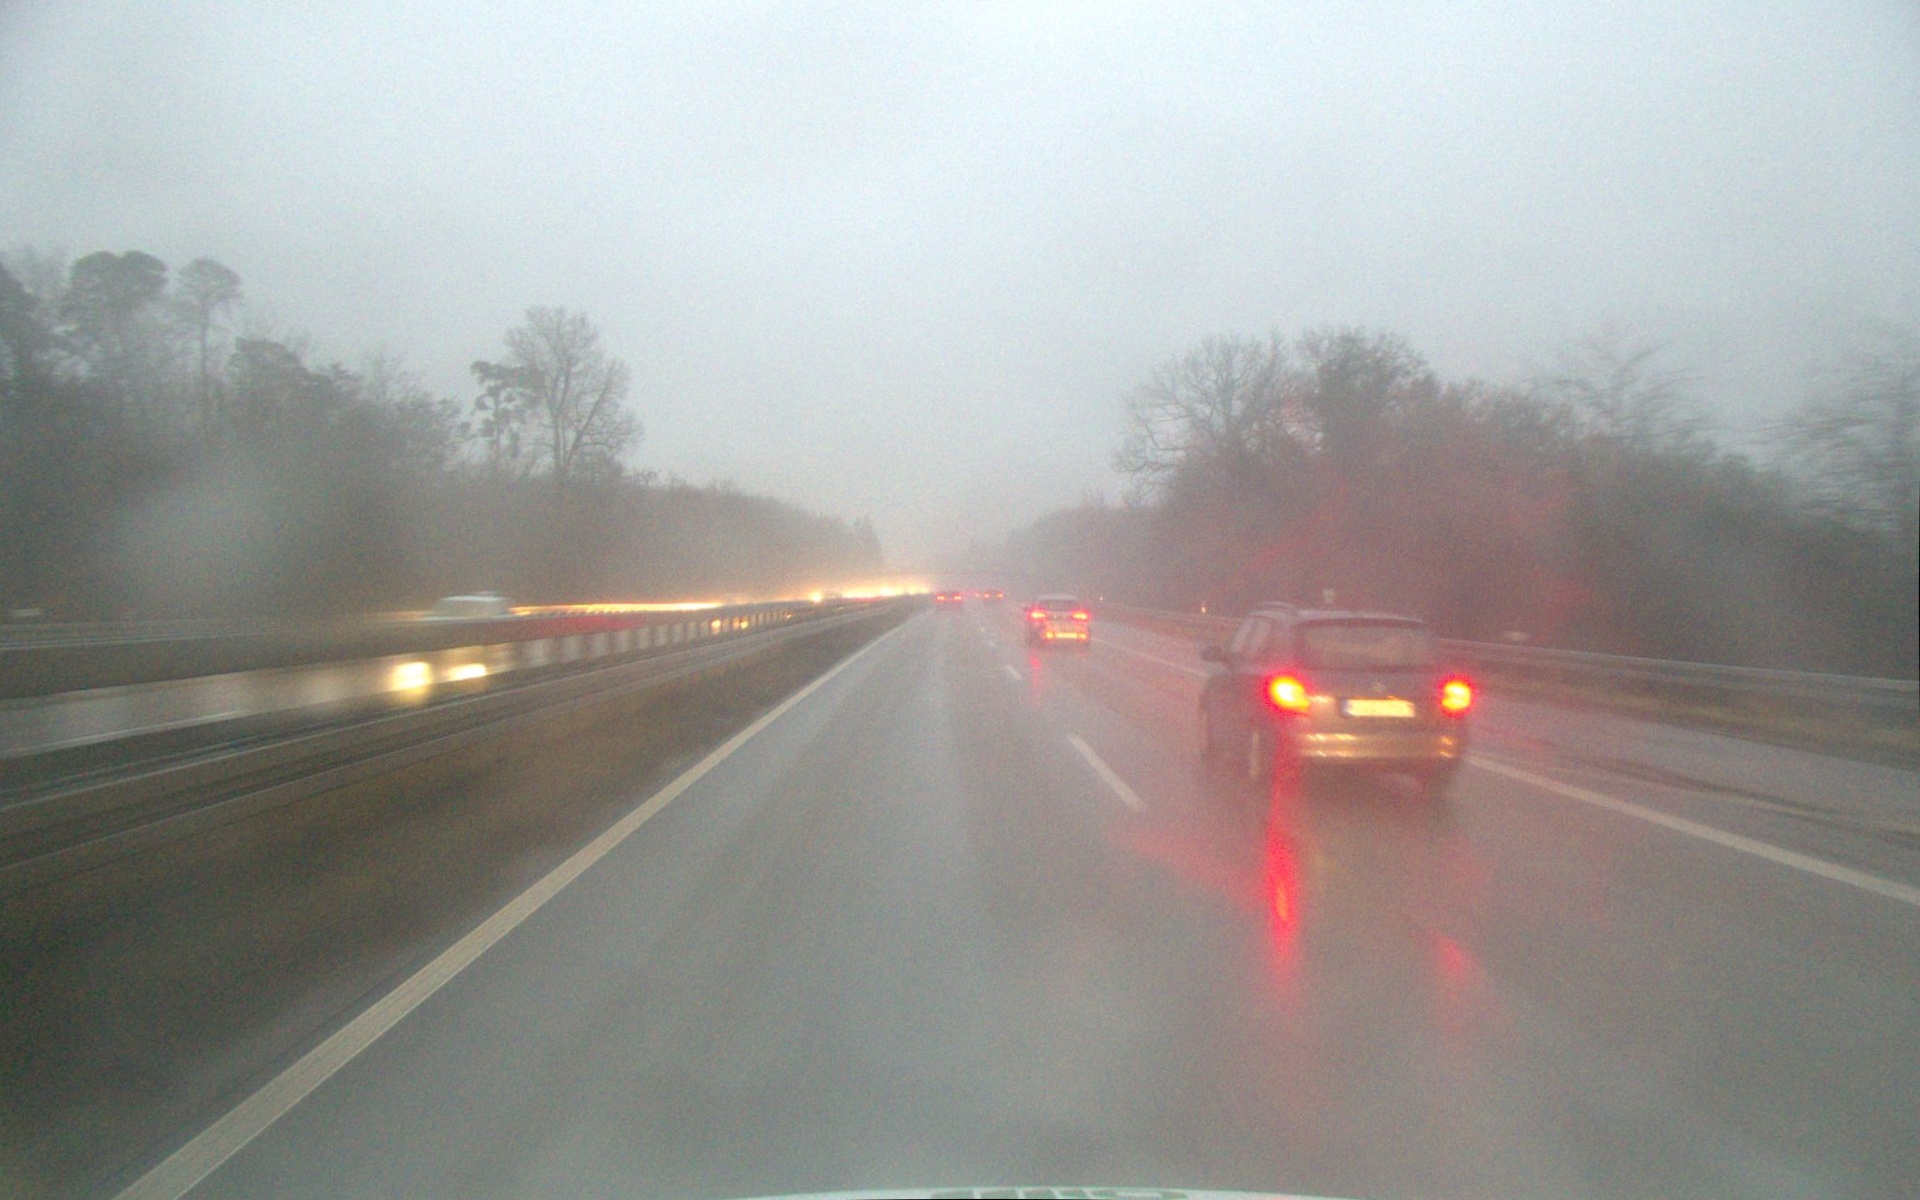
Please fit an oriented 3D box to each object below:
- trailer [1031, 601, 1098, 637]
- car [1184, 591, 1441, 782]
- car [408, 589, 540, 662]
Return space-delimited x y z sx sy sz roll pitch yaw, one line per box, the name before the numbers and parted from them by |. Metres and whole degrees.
trailer | 2.985 0.532 47.574 1.712 0.941 2.951 -1 0 0
car | 3.059 0.685 14.999 1.562 1.517 3.594 0 0 0
car | -11.408 0.554 39.151 1.760 1.598 4.753 0 0 -1
